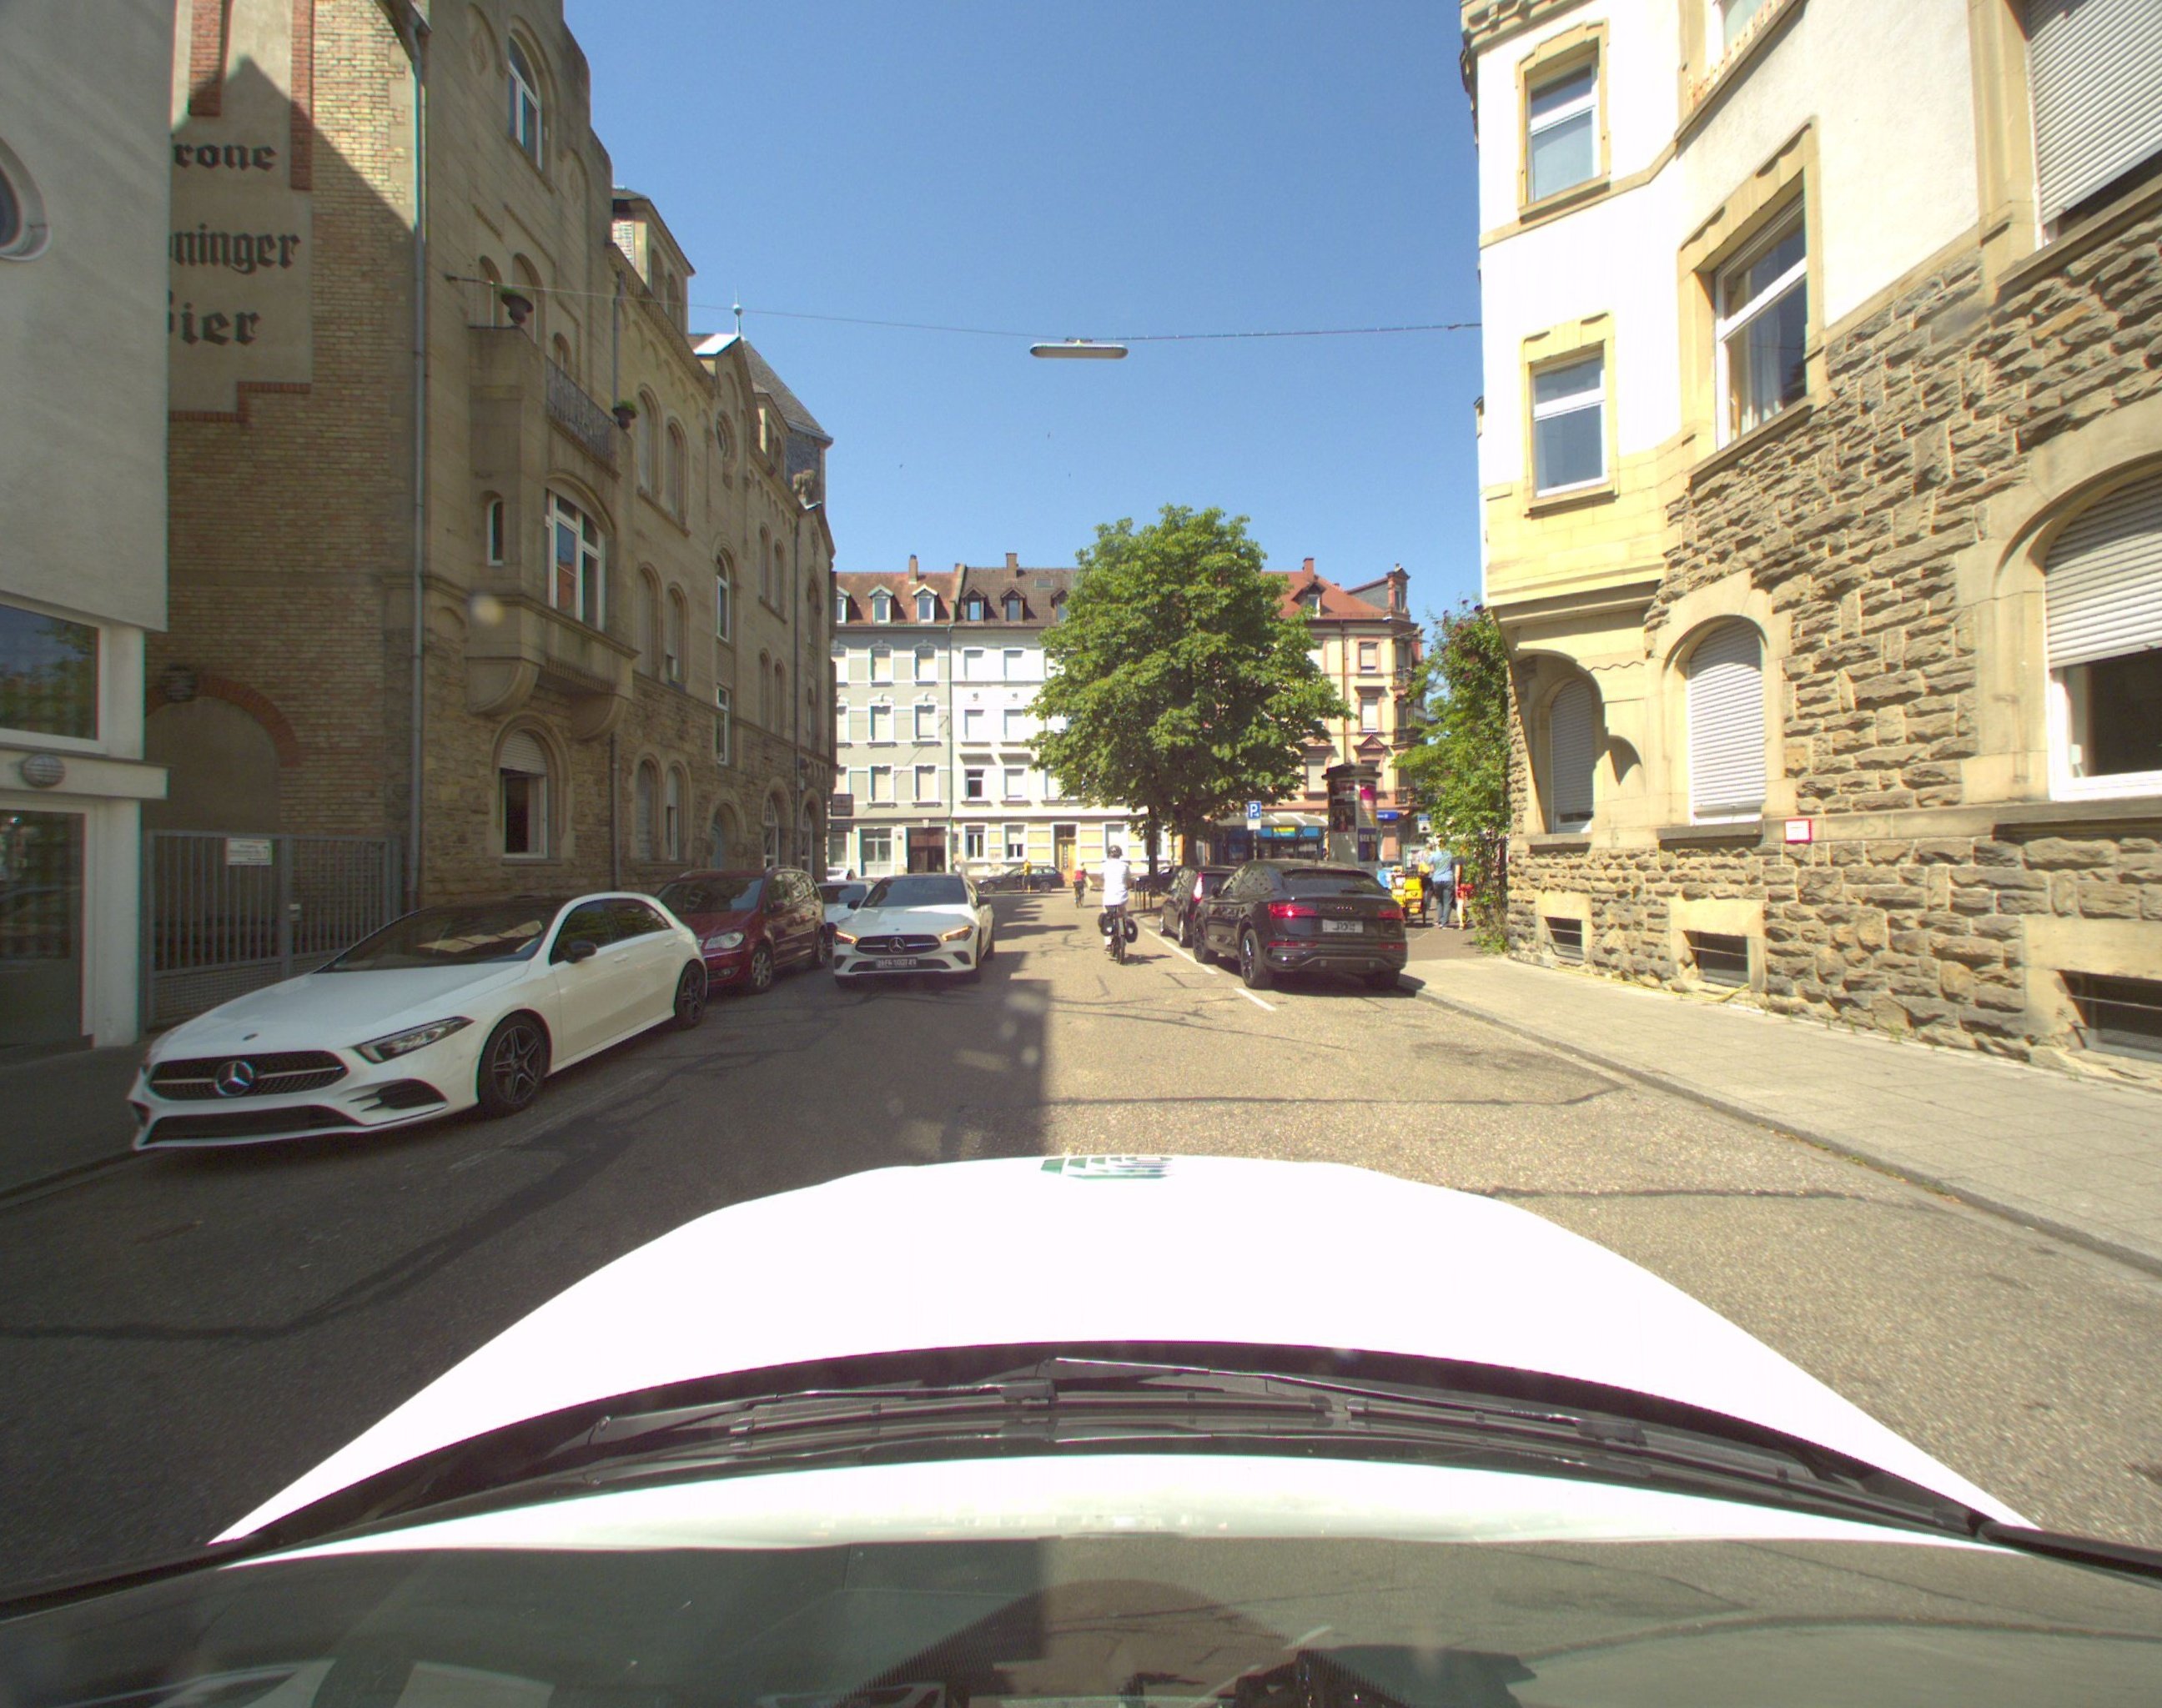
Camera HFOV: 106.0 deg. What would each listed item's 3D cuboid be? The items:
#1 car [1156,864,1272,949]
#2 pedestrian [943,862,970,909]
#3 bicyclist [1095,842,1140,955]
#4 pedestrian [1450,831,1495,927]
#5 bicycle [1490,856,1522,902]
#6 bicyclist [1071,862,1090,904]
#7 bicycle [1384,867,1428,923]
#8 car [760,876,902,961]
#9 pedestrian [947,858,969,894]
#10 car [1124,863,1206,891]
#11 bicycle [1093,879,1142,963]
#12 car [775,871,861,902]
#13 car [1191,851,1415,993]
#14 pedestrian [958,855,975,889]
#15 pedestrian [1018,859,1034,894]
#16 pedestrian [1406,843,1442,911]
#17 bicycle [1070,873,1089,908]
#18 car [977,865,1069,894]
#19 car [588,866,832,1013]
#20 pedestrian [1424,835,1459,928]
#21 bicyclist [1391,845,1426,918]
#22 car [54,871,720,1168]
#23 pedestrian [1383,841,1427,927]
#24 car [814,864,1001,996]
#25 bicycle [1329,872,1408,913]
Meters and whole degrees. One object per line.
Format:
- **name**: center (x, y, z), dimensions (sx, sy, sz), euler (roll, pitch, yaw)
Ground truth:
- **car**: center (2.681, 1.004, 17.267), dimensions (1.658, 1.540, 4.175), euler (1, -1, -1)
- **pedestrian**: center (-4.583, 1.159, 29.957), dimensions (0.855, 1.672, 0.773), euler (-1, -1, -2)
- **bicyclist**: center (0.583, 0.707, 13.124), dimensions (0.668, 1.760, 0.609), euler (1, -1, -1)
- **pedestrian**: center (7.893, 0.499, 16.428), dimensions (0.595, 1.880, 0.886), euler (-1, -1, 12)
- **bicycle**: center (10.259, 0.589, 19.628), dimensions (0.542, 1.039, 1.848), euler (-2, -1, 31)
- **bicyclist**: center (-0.027, 1.059, 29.841), dimensions (0.668, 1.533, 0.609), euler (-1, -1, -1)
- **bicycle**: center (7.460, 0.908, 18.639), dimensions (0.786, 1.169, 2.593), euler (-2, -1, 25)
- **car**: center (-4.853, 1.190, 16.466), dimensions (1.698, 1.352, 4.508), euler (-3, -1, -4)
- **pedestrian**: center (-6.588, 1.187, 43.667), dimensions (0.845, 1.889, 0.937), euler (-1, -1, 9)
- **car**: center (4.572, 1.250, 44.691), dimensions (4.283, 1.370, 1.806), euler (-1, 2, -3)
- **bicycle**: center (0.566, 1.044, 13.476), dimensions (0.650, 1.228, 2.440), euler (1, -1, -1)
- **car**: center (-14.200, 1.737, 44.144), dimensions (4.038, 1.562, 1.804), euler (-1, -1, -4)
- **car**: center (2.853, 0.816, 11.518), dimensions (1.732, 1.597, 4.342), euler (1, -1, -4)
- **pedestrian**: center (-6.251, 0.997, 44.544), dimensions (0.900, 1.814, 0.958), euler (-1, -1, -7)
- **pedestrian**: center (-2.914, 1.189, 43.093), dimensions (0.725, 1.853, 0.682), euler (-1, -1, -12)
- **pedestrian**: center (9.359, 0.617, 22.197), dimensions (0.753, 1.794, 0.576), euler (0, -2, -40)
- **bicycle**: center (-0.049, 1.320, 29.781), dimensions (0.650, 1.209, 2.440), euler (1, -1, 0)
- **car**: center (-3.120, 1.391, 44.413), dimensions (4.847, 1.437, 1.998), euler (-1, -1, -3)
- **car**: center (-4.835, 1.000, 11.297), dimensions (1.669, 1.583, 4.047), euler (-3, -1, -3)
- **pedestrian**: center (7.365, 0.560, 16.649), dimensions (0.515, 1.869, 0.656), euler (-1, -1, 13)
- **bicyclist**: center (7.545, 0.631, 18.753), dimensions (0.671, 1.648, 0.665), euler (-2, -1, 26)
- **car**: center (-4.630, 0.912, 6.485), dimensions (1.773, 1.460, 4.273), euler (-3, -1, -4)
- **pedestrian**: center (6.763, 0.626, 17.025), dimensions (0.636, 1.752, 0.614), euler (-1, -1, 1)
- **car**: center (-2.260, 0.927, 11.795), dimensions (1.837, 1.461, 4.358), euler (-3, -1, -2)
- **bicycle**: center (7.769, 1.024, 22.044), dimensions (1.895, 1.039, 0.633), euler (-1, -1, -2)
